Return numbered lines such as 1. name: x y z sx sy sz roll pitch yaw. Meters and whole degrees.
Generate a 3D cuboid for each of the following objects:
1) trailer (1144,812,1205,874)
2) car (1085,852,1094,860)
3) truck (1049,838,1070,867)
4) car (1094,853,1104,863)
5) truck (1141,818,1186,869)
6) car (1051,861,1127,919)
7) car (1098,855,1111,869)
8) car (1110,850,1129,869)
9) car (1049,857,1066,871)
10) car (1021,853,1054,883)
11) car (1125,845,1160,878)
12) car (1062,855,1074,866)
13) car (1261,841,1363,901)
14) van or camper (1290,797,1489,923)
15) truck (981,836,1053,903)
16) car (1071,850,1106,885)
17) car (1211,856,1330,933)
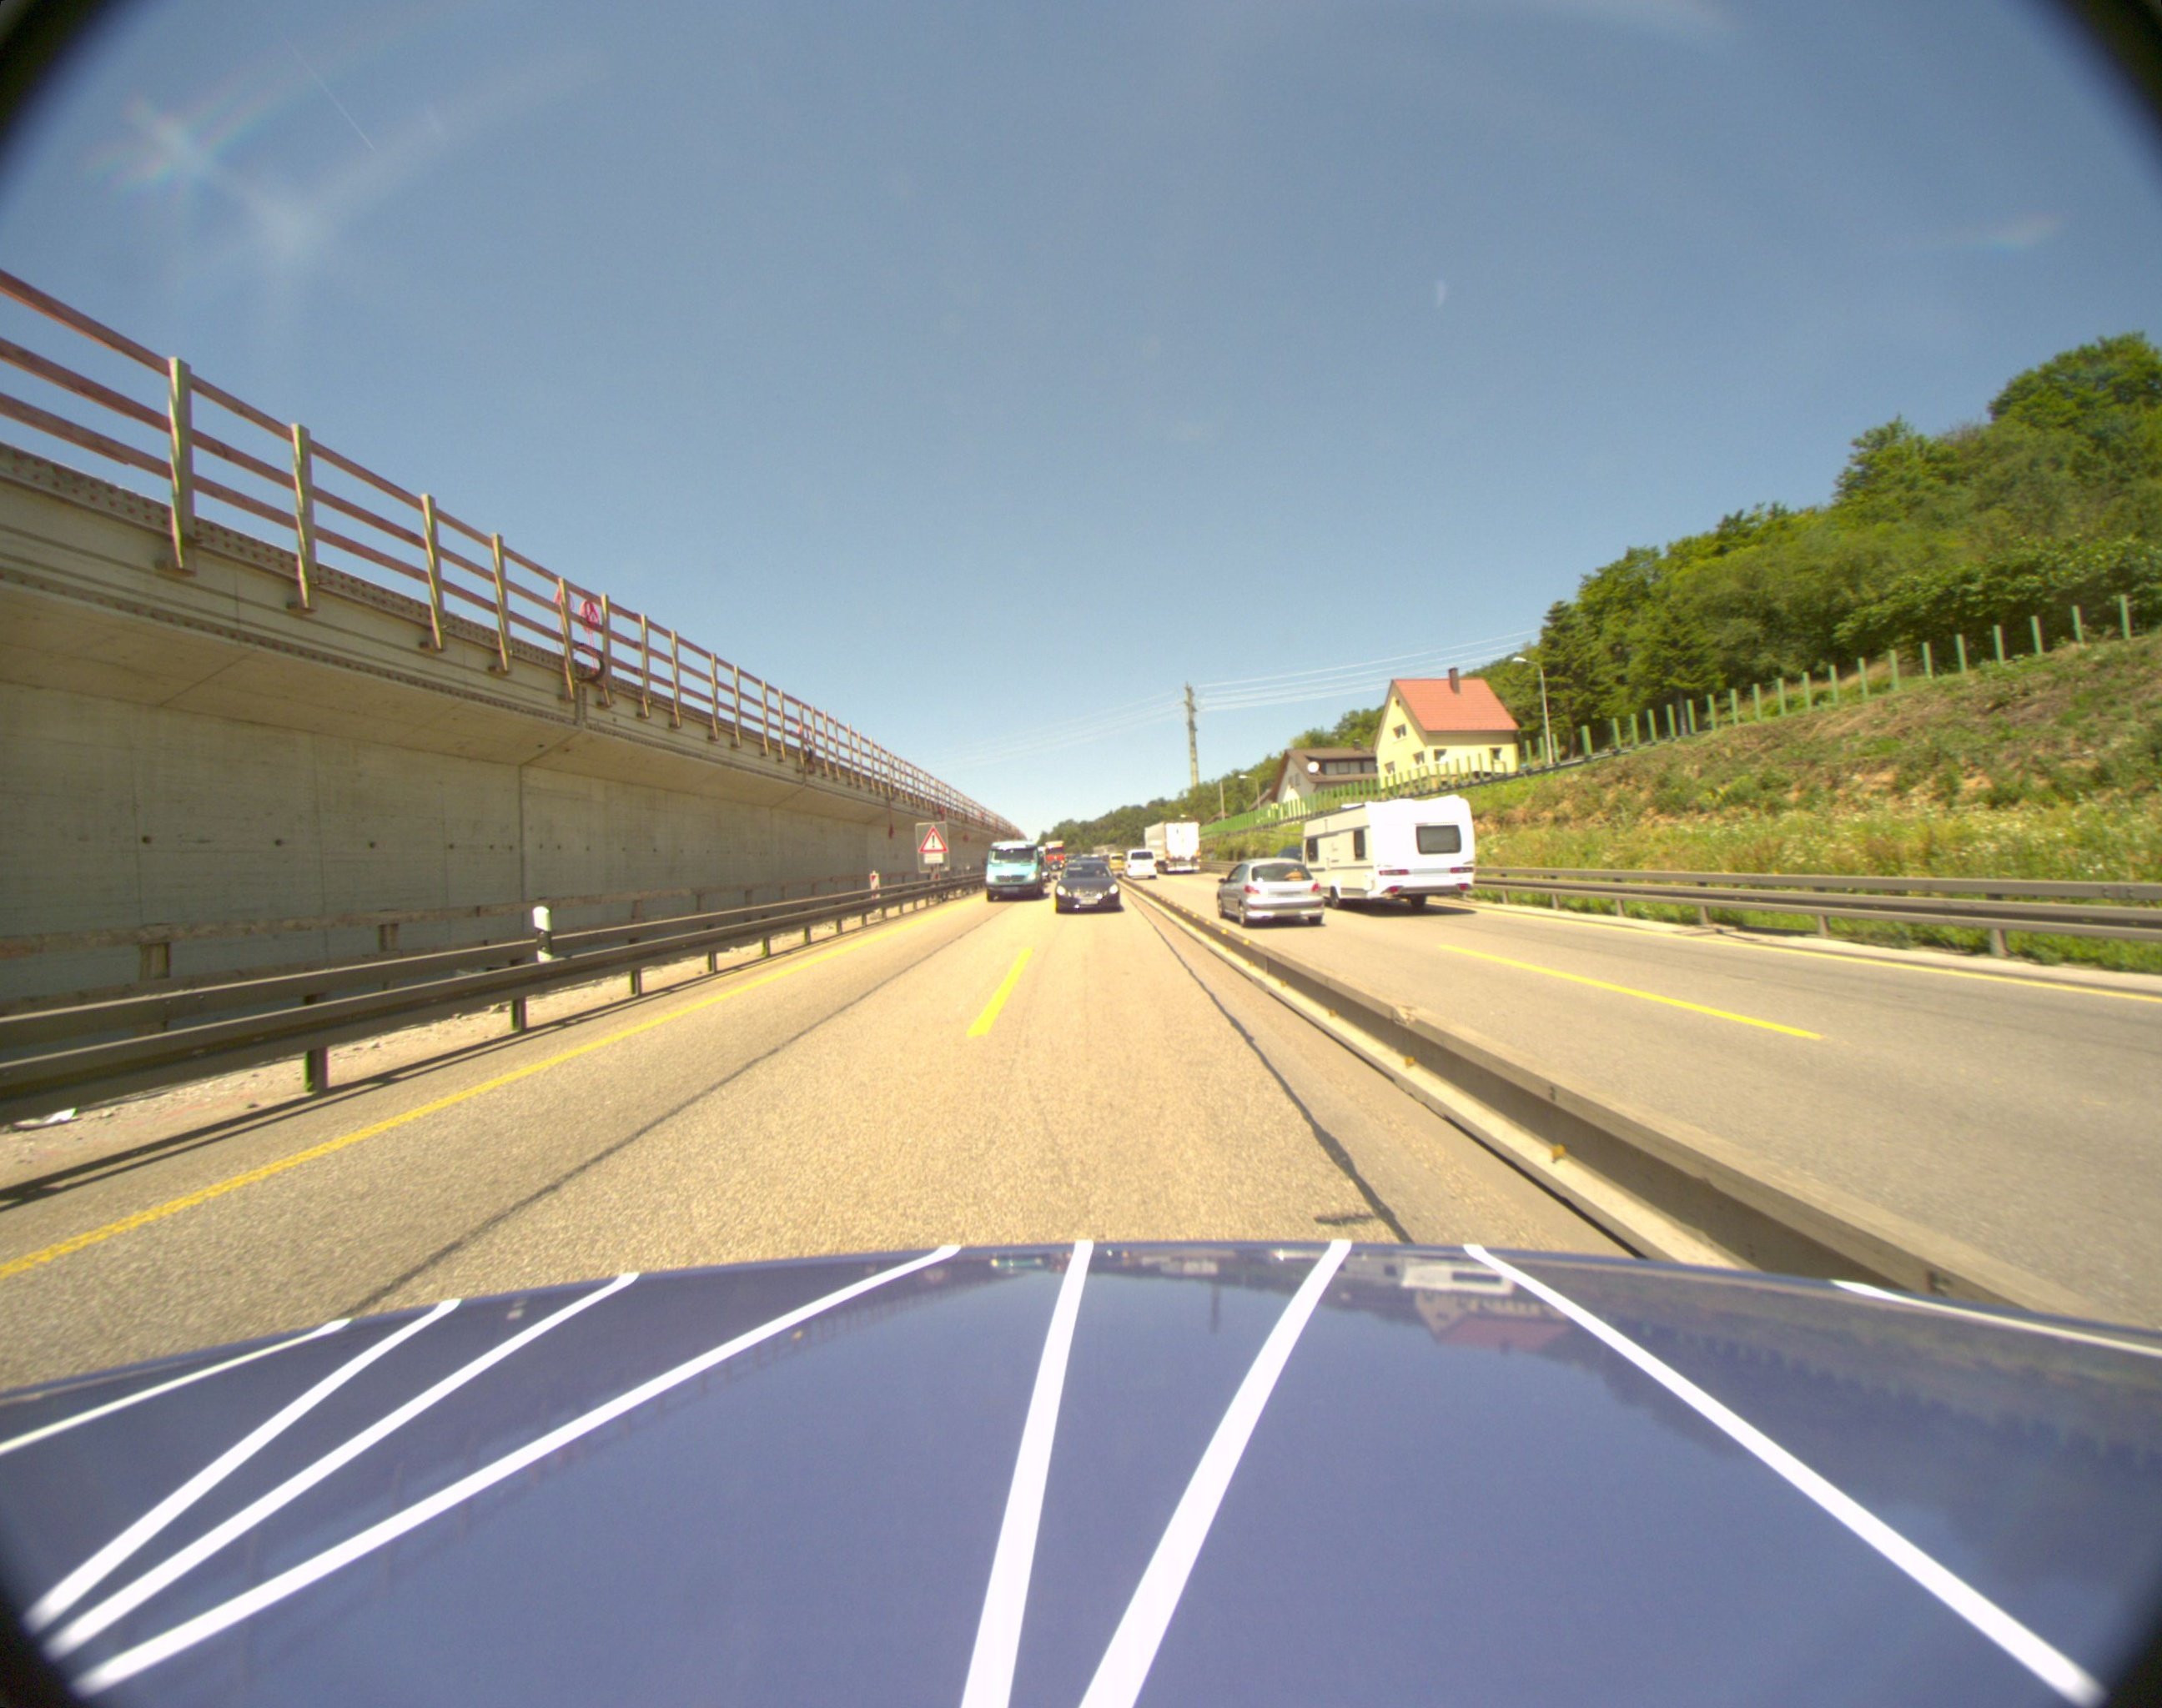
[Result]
1. trailer: 7.479 -0.882 62.967 3.111 4.416 14.627 -2 1 0
2. car: 1.997 0.478 170.837 1.884 1.805 4.000 -2 1 2
3. truck: -3.176 -0.227 115.989 2.750 4.221 9.094 -2 1 0
4. car: 3.415 0.801 143.227 1.884 1.805 4.000 -2 1 2
5. truck: 7.492 -0.932 70.333 3.111 4.368 8.505 -2 1 0
6. car: 0.260 0.979 22.707 1.998 1.440 4.602 -2 0 1
7. car: 3.470 1.149 111.643 1.884 1.805 4.000 -2 1 2
8. car: 4.109 0.572 80.980 1.884 1.805 4.000 -2 1 2
9. car: -2.885 1.259 94.071 1.883 1.532 4.281 -2 1 0
10. car: -2.858 0.905 50.642 1.885 1.805 4.250 -2 1 0
11. car: 4.017 0.484 50.049 1.998 2.002 4.166 -2 0 1
12. car: -2.492 1.298 147.169 1.998 2.002 3.999 -2 1 0
13. car: 7.591 0.504 25.496 1.998 1.745 4.687 -2 1 1
14. van or camper: 7.533 0.097 19.687 2.356 2.618 6.902 -2 1 1
15. truck: -2.456 0.534 31.286 2.139 2.343 7.432 -2 1 1
16. car: 0.490 0.732 44.026 1.884 1.805 4.250 -2 1 2
17. car: 4.051 0.809 16.847 1.671 1.442 3.905 -2 0 1
